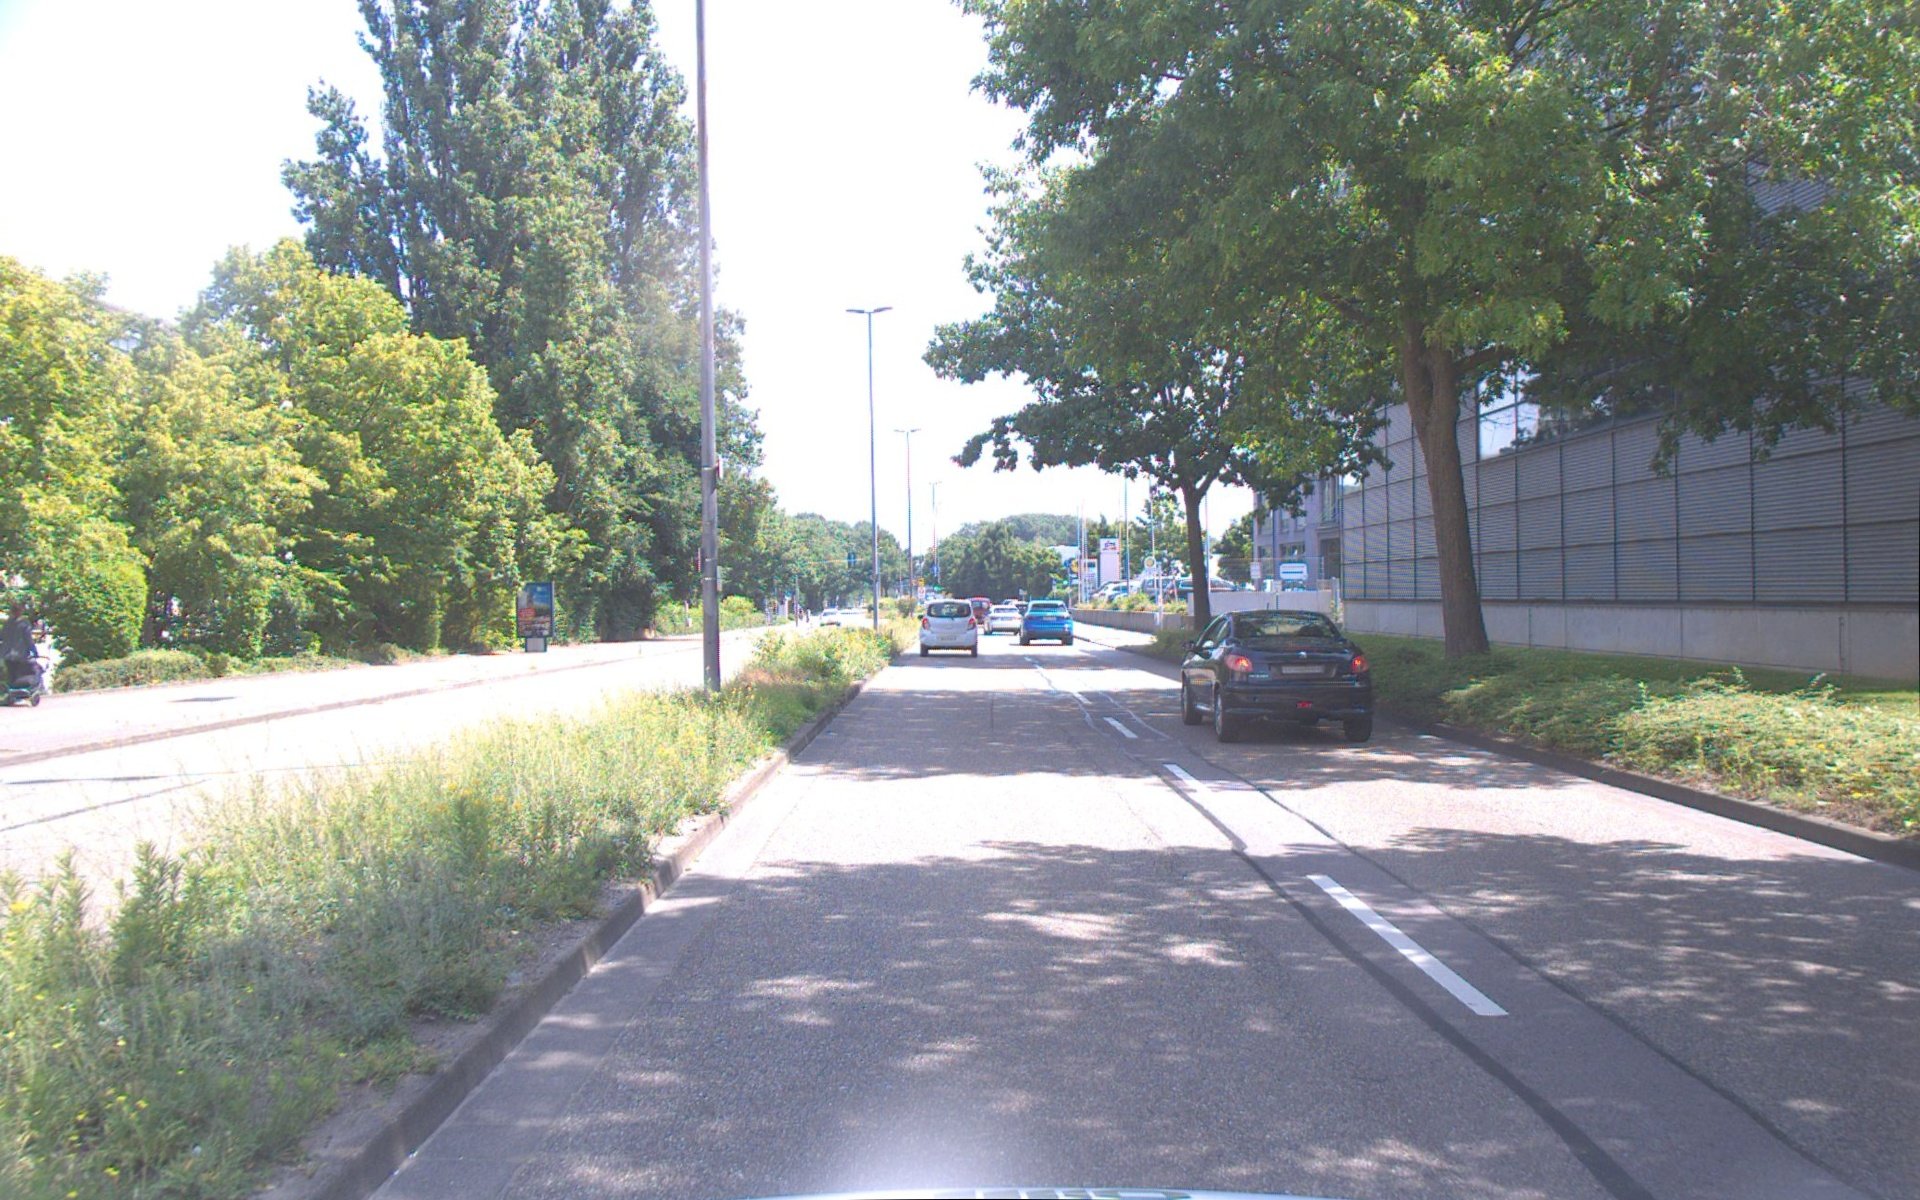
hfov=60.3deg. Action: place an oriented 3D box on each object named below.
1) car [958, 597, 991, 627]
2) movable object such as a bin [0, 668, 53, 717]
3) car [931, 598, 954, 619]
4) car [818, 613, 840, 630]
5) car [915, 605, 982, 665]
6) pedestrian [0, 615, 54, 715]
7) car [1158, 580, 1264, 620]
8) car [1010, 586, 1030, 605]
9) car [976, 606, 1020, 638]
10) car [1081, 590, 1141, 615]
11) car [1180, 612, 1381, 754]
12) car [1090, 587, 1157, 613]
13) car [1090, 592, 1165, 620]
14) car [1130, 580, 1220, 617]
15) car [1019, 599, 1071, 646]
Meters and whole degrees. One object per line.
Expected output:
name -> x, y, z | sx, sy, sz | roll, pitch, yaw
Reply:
car -> 0.870, 0.742, 102.372 | 1.741, 1.771, 3.997 | -2, -1, -3
movable object such as a bin -> -14.680, 1.447, 26.005 | 0.419, 0.718, 0.652 | -2, 0, 8
car -> -1.557, 0.741, 145.330 | 1.784, 1.691, 3.997 | -2, 1, -4
car -> -11.913, 1.949, 150.697 | 1.701, 1.438, 4.369 | -2, -1, -2
car -> -0.279, 0.931, 45.931 | 1.712, 1.546, 3.746 | -1, 0, 1
pedestrian -> -15.072, 1.035, 26.539 | 0.620, 1.572, 0.727 | -2, -1, -1
car -> 11.255, -0.005, 74.286 | 4.408, 1.610, 1.999 | -2, -1, -1
car -> 6.654, -0.546, 184.454 | 1.735, 2.049, 3.988 | -2, 0, -4
car -> 1.800, 1.057, 79.587 | 1.953, 1.467, 3.999 | -2, -1, -1
car -> 10.556, 0.209, 115.882 | 3.907, 1.571, 1.999 | -2, -1, -2
car -> 3.513, 0.864, 18.702 | 1.594, 1.388, 3.605 | 0, 0, 0
car -> 11.025, -0.009, 111.927 | 4.259, 1.571, 1.999 | -2, -1, -2
car -> 10.609, 0.373, 104.976 | 4.443, 1.571, 2.000 | -2, -1, -1
car -> 10.766, -0.048, 83.017 | 4.141, 1.676, 1.999 | -2, -1, -1
car -> 3.040, 0.822, 59.726 | 1.790, 1.608, 3.606 | -1, -1, 2
